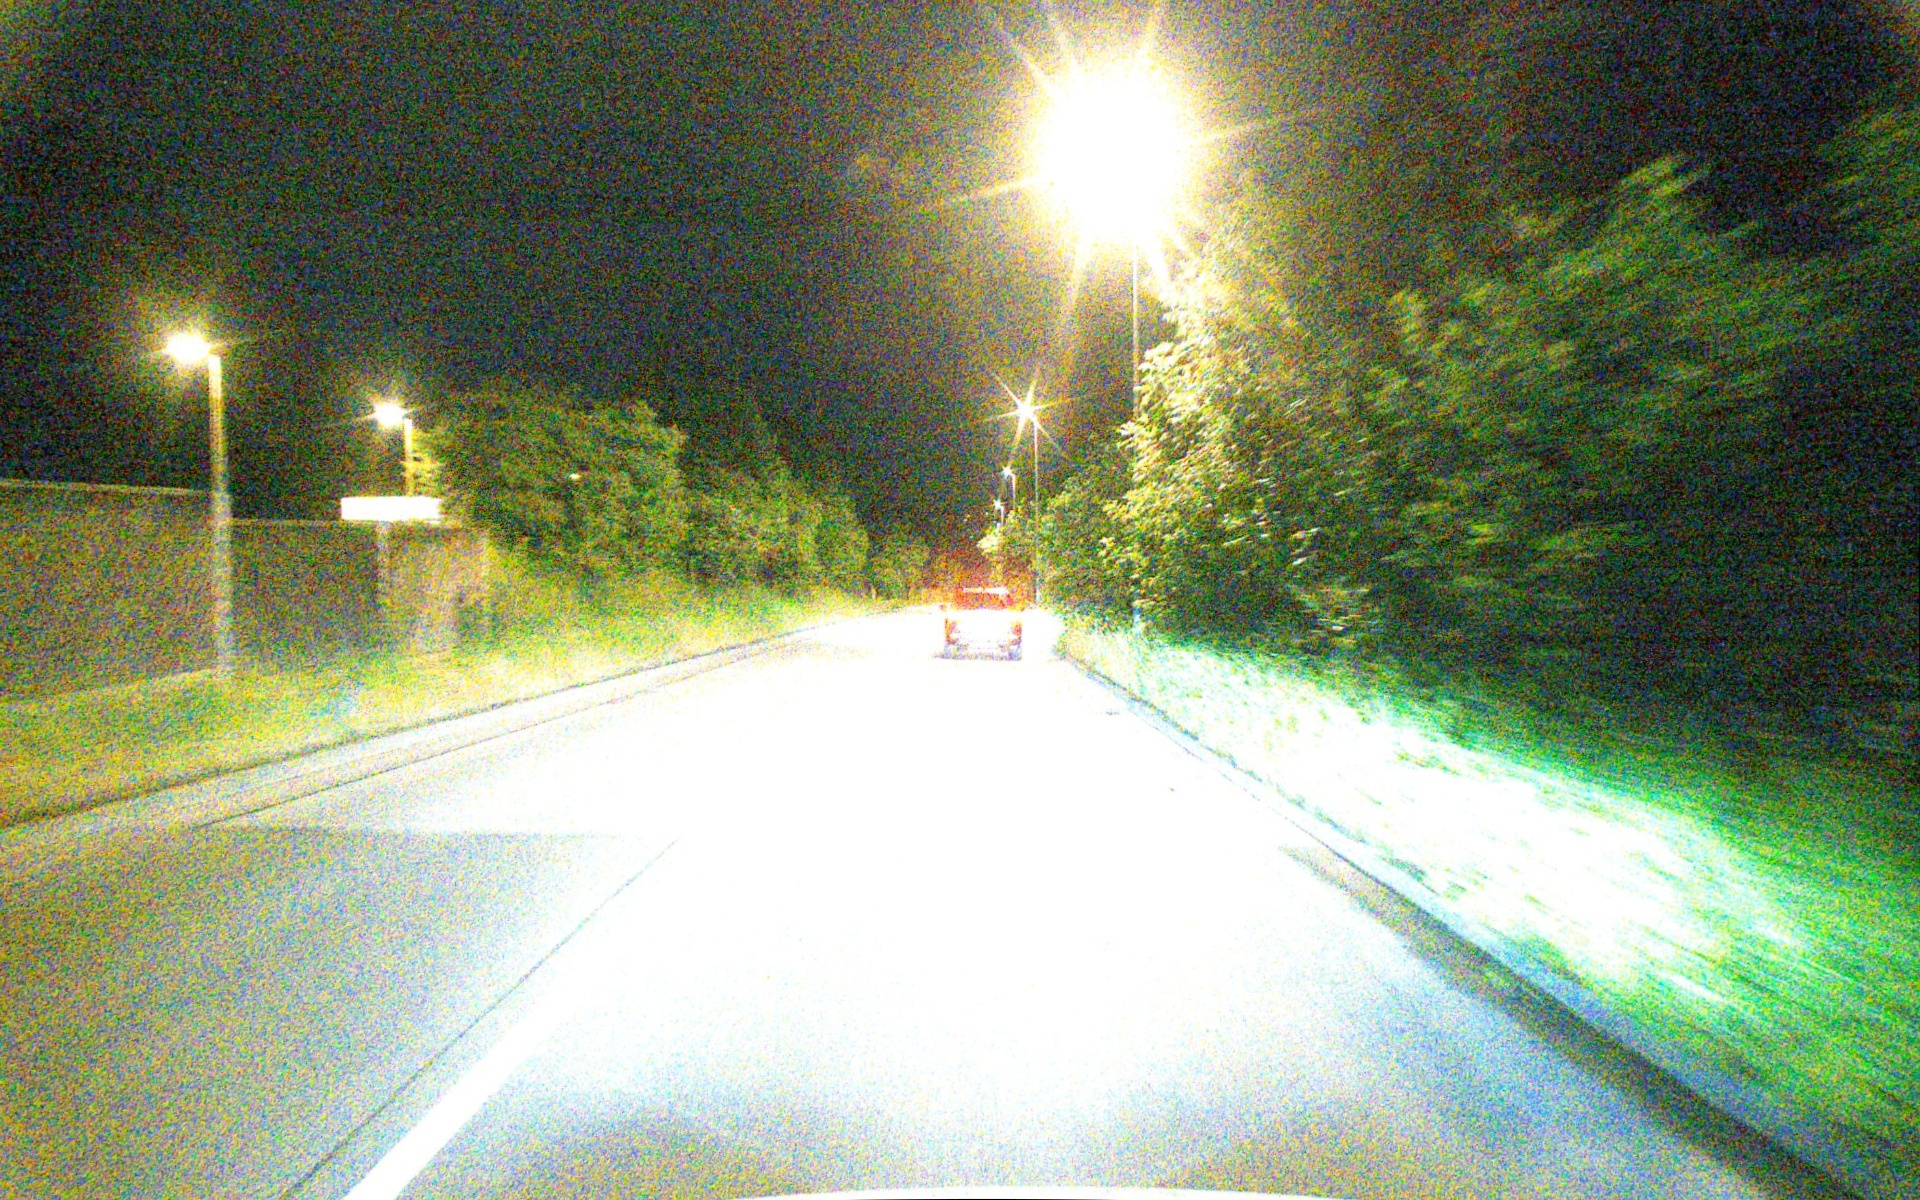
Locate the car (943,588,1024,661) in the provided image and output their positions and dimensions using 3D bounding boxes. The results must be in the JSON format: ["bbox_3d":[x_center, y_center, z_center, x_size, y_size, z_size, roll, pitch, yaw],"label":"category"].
[{"bbox_3d":[0.503,0.522,38.312,1.778,1.601,3.943,0,0,-1],"label":"car"}]
